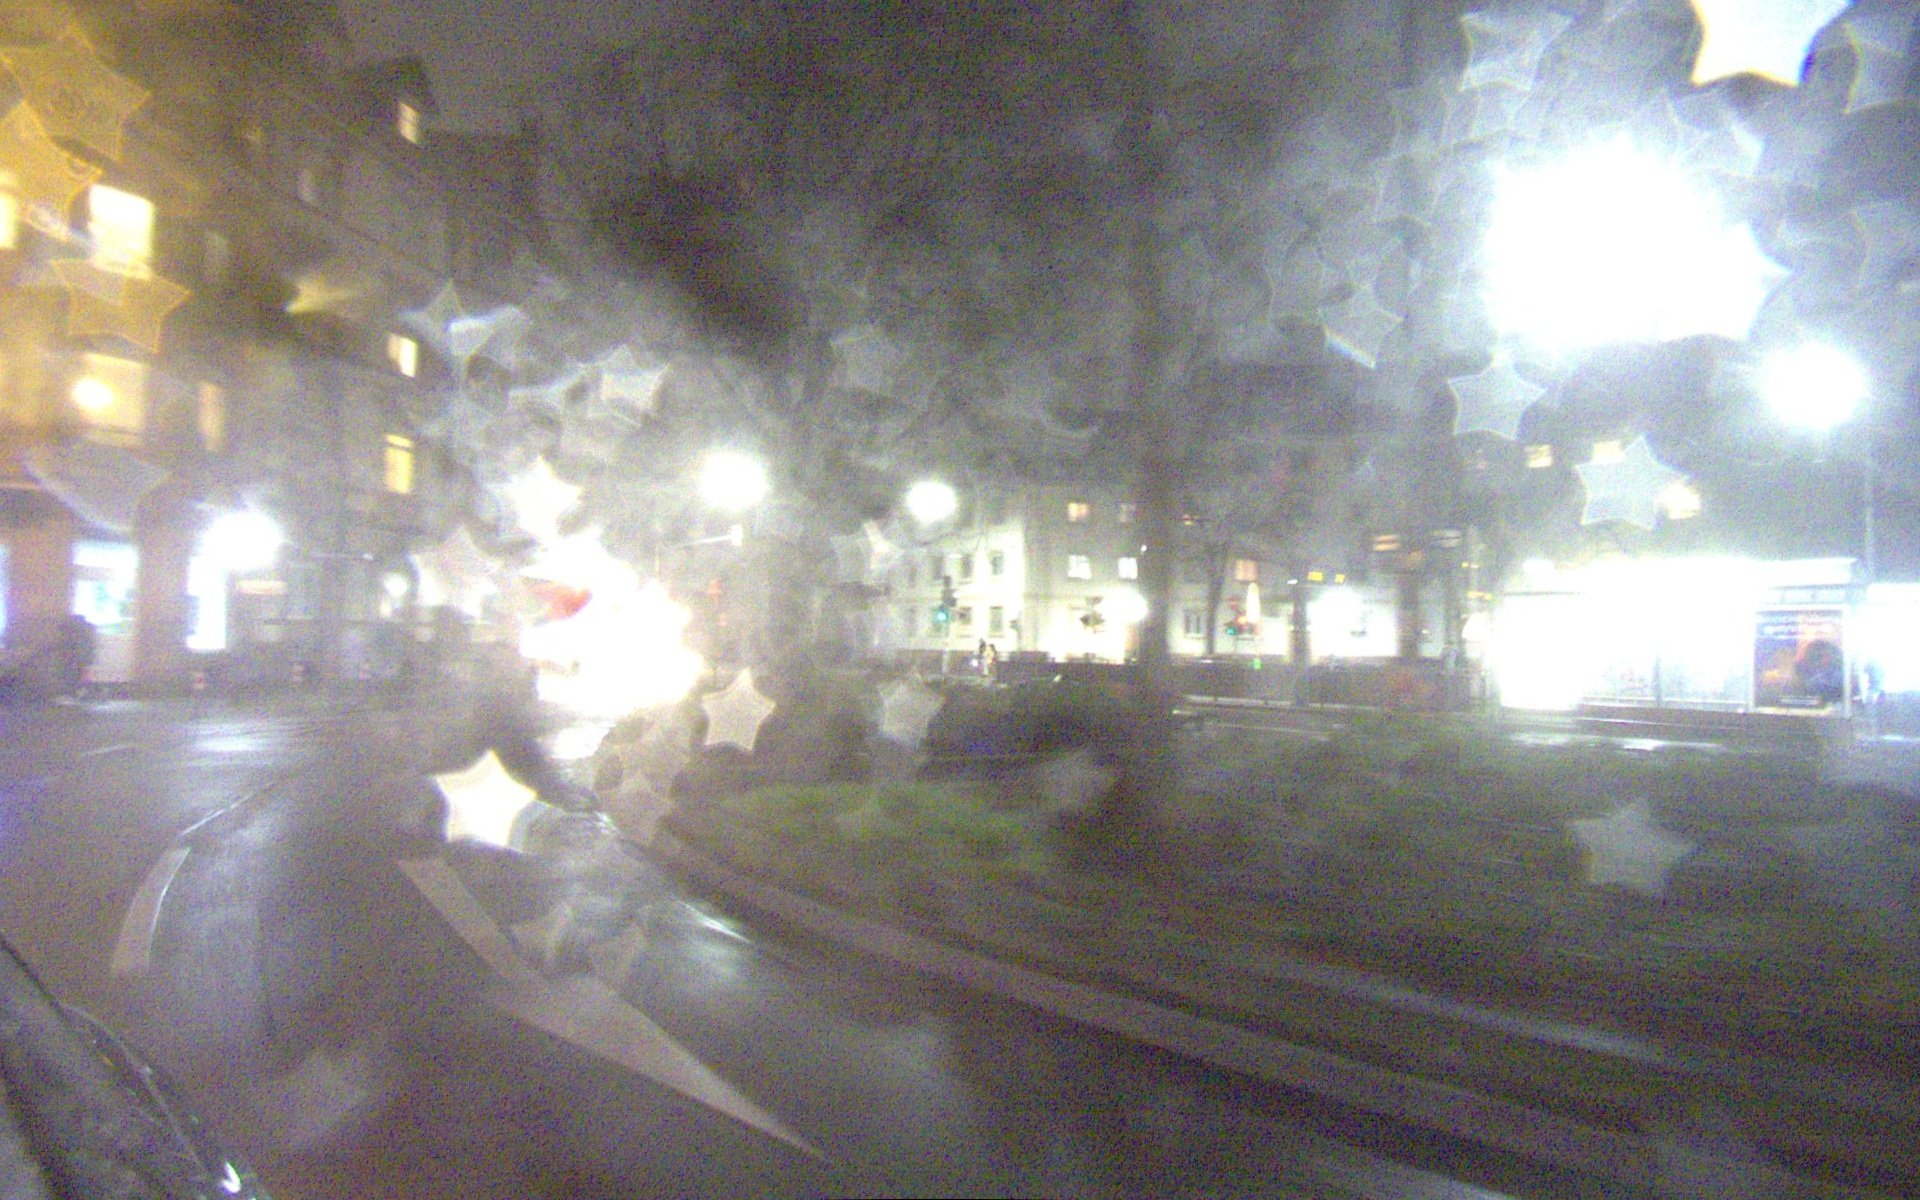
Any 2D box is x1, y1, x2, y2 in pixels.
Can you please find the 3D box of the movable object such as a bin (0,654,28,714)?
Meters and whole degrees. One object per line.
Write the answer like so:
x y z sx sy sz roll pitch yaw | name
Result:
-18.642 1.630 19.519 0.908 1.124 0.636 0 -1 -37 | movable object such as a bin

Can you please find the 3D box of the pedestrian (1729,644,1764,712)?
18.437 1.812 23.719 0.573 1.559 0.506 -1 -1 33 | pedestrian

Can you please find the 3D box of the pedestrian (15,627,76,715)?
-18.043 1.378 19.974 0.829 1.650 0.636 0 -1 -37 | pedestrian

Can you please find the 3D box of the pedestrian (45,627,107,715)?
-17.216 1.364 19.725 0.860 1.650 0.636 0 -1 -37 | pedestrian

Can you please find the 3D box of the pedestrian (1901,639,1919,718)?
20.428 1.657 21.457 0.527 1.642 0.399 -1 -1 7 | pedestrian

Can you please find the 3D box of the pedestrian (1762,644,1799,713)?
18.956 1.809 23.390 0.585 1.540 0.474 -1 -1 33 | pedestrian

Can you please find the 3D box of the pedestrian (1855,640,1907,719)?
19.790 1.695 21.751 0.553 1.664 0.583 -1 -1 7 | pedestrian
